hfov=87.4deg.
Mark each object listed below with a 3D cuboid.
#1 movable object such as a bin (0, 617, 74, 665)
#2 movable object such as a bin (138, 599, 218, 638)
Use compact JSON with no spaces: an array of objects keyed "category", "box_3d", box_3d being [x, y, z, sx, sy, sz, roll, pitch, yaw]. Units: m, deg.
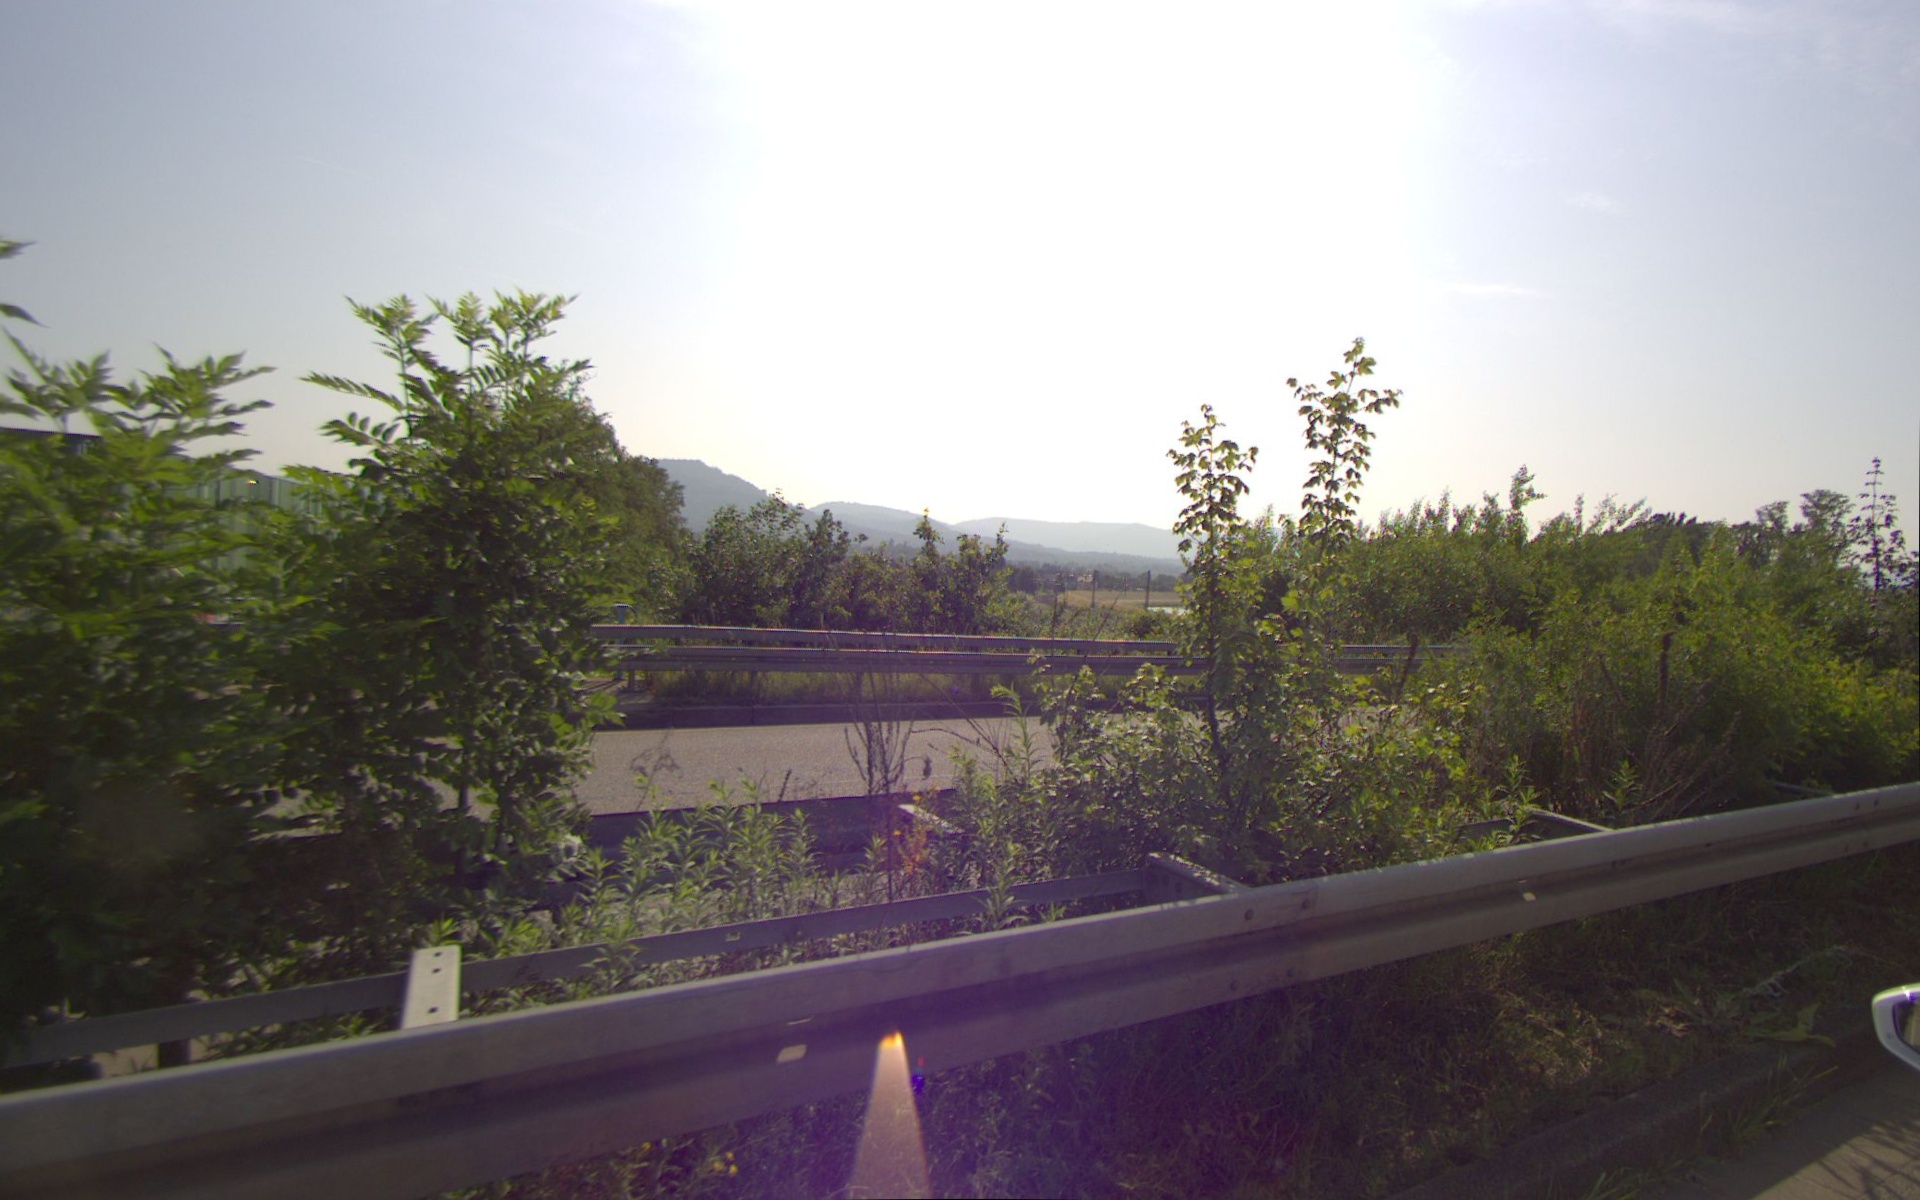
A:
[{"category":"movable object such as a bin","box_3d":[-43.983,1.869,46.651,3.747,2.040,1.849,4,0,-26]},{"category":"movable object such as a bin","box_3d":[-46.954,1.080,60.374,3.353,2.106,1.718,4,0,-24]}]
